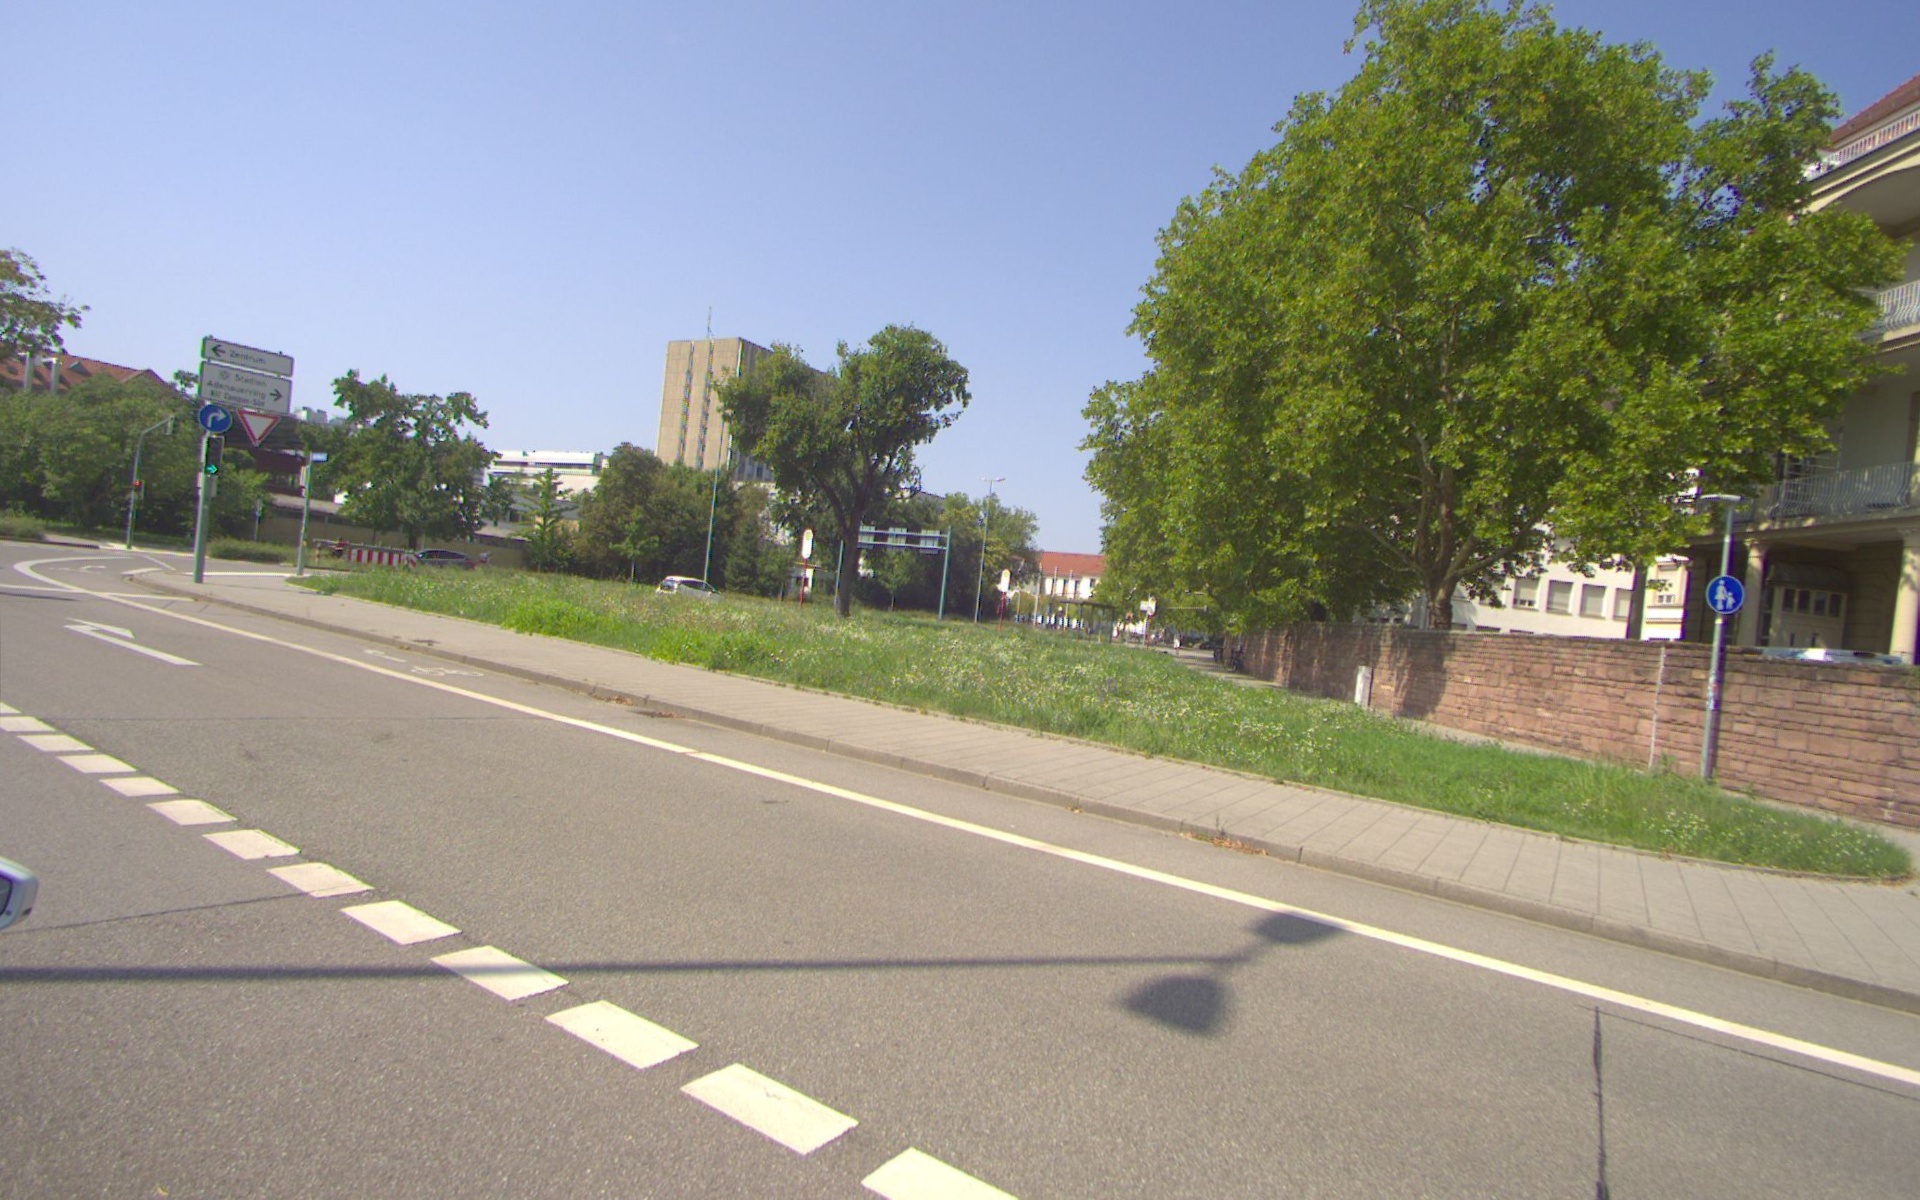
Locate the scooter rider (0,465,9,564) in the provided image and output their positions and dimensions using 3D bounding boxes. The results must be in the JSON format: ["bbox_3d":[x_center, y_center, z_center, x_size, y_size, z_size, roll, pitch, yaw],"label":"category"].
[{"bbox_3d":[-15.024,-1.203,15.234,0.547,1.798,0.760,7,1,42],"label":"scooter rider"}]

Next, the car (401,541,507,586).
[{"bbox_3d":[-23.885,-1.709,47.607,1.794,1.585,3.988,7,0,35],"label":"car"}]

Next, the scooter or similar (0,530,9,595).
[{"bbox_3d":[-15.111,-0.639,15.286,1.598,0.938,0.771,7,0,42],"label":"scooter or similar"}]

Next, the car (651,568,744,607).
[{"bbox_3d":[-12.675,-0.580,48.776,1.820,1.408,3.986,7,0,36],"label":"car"}]
